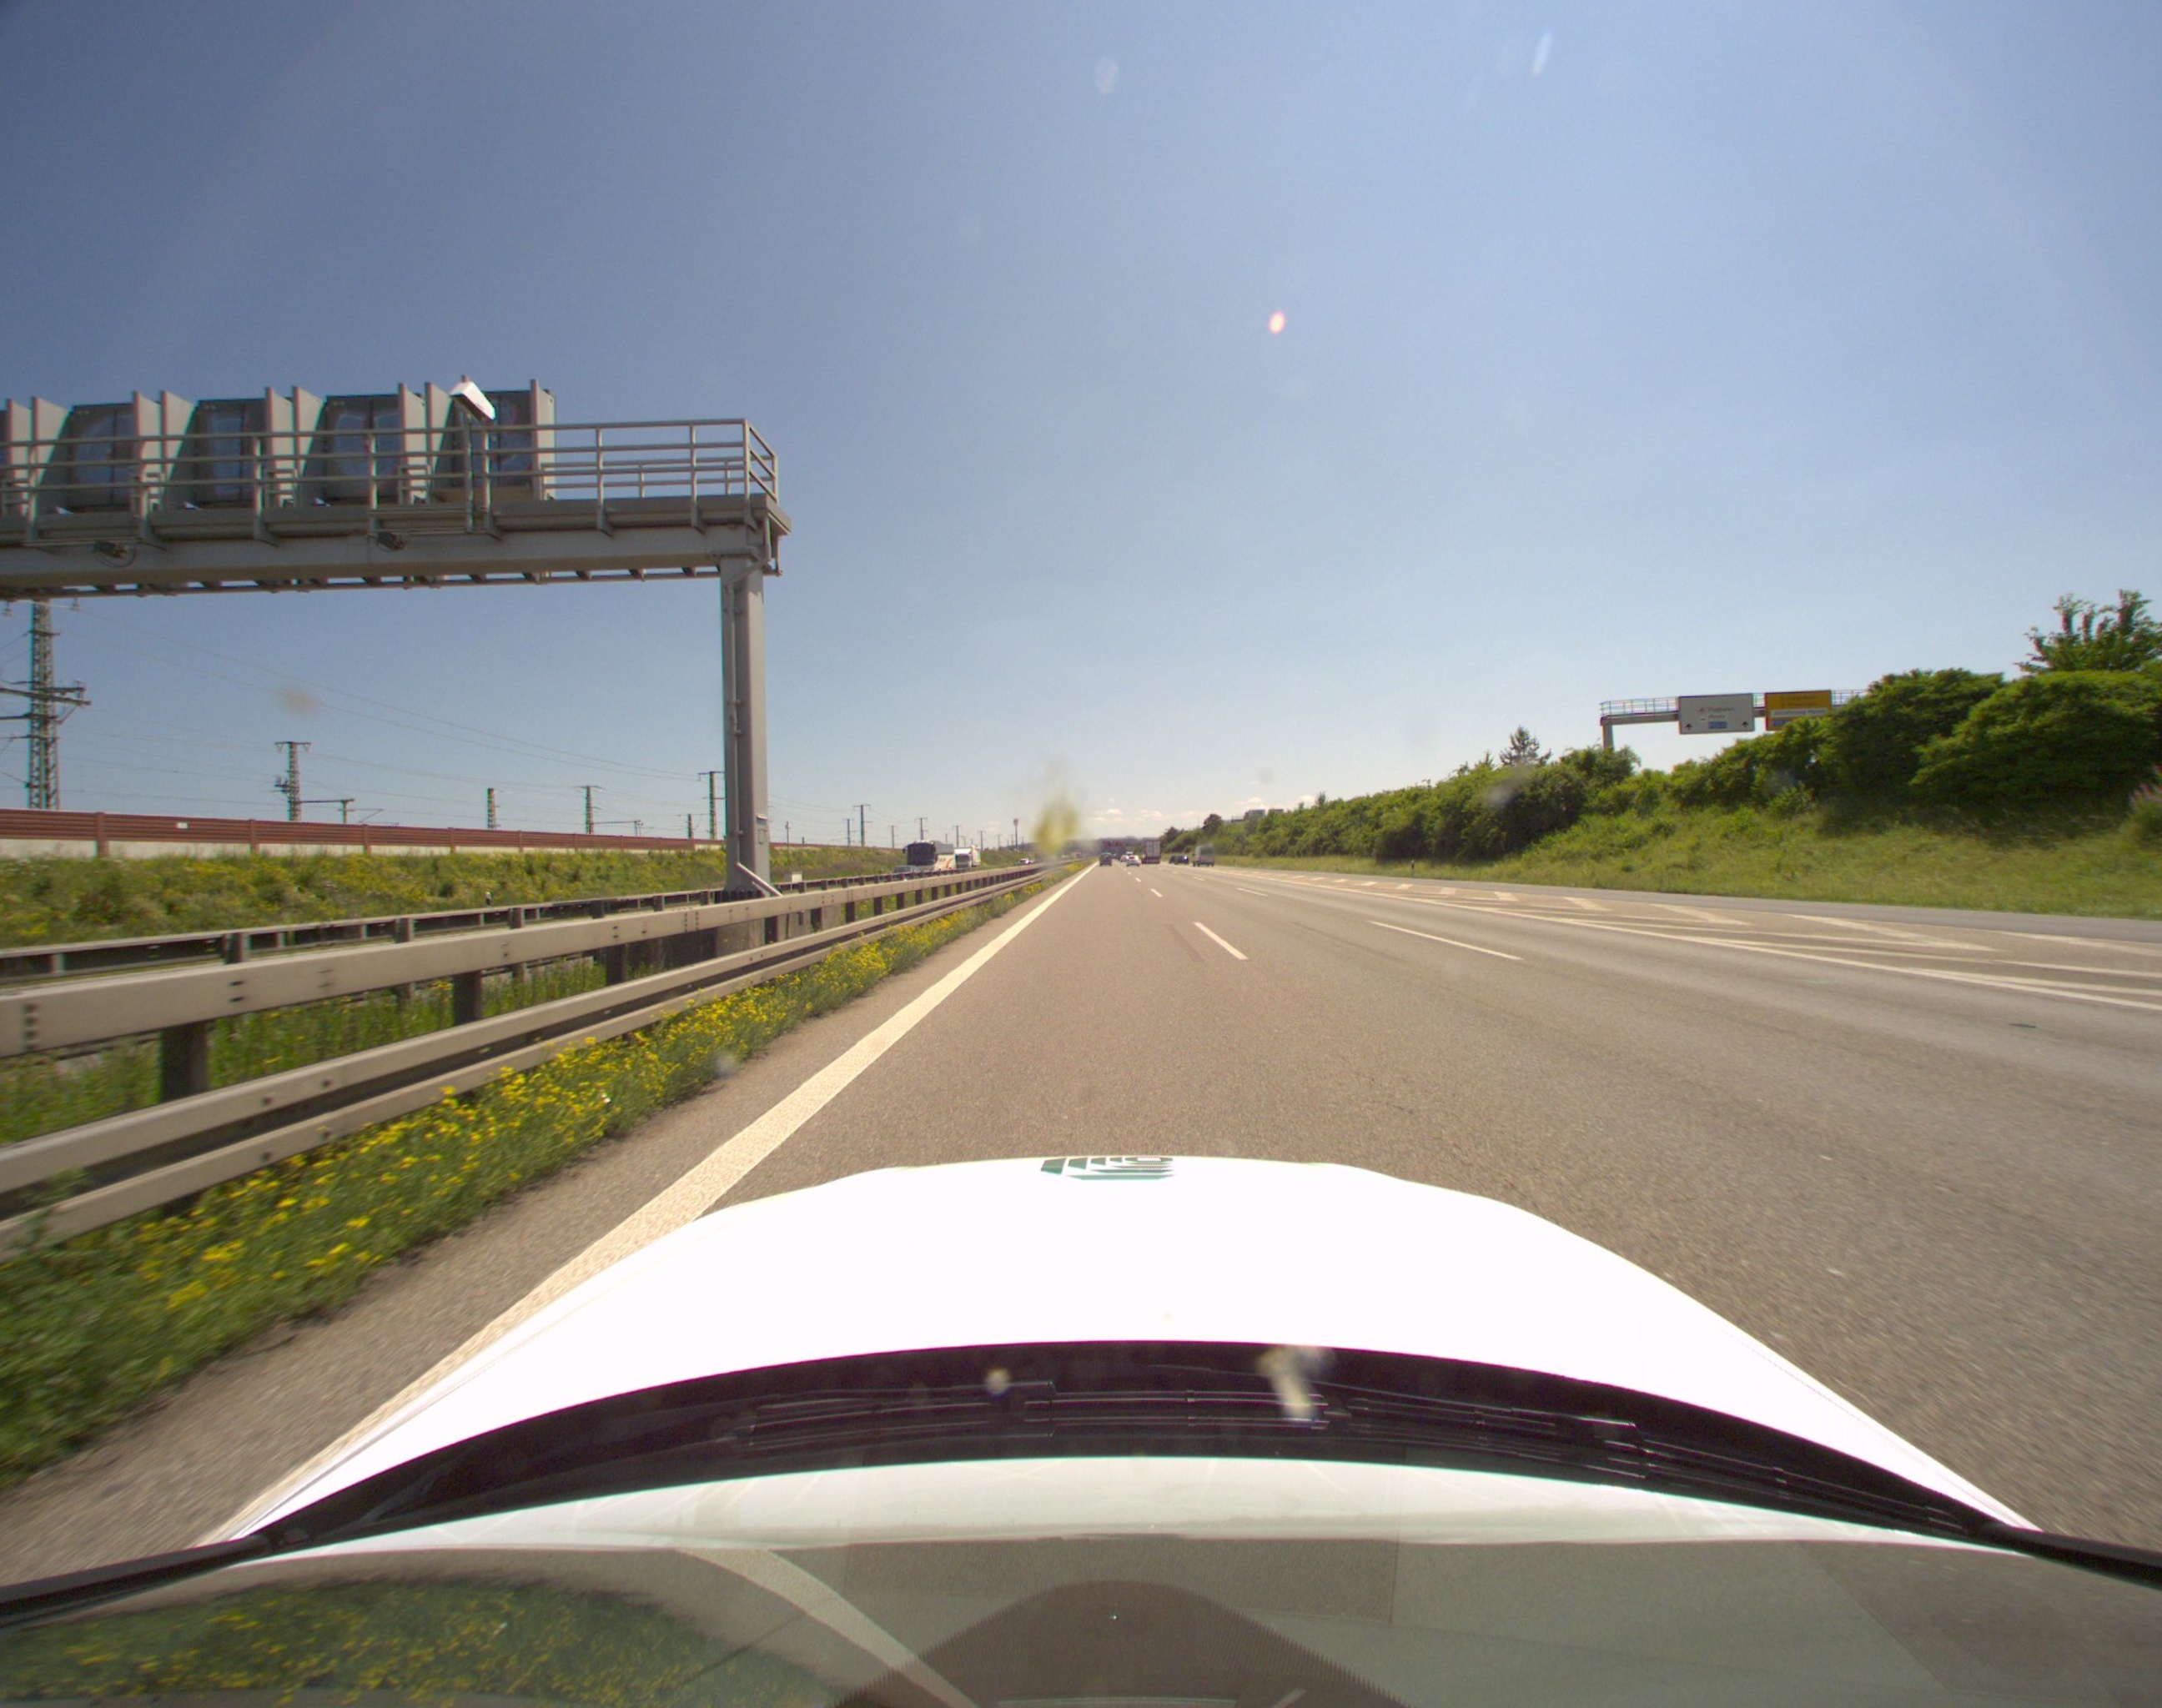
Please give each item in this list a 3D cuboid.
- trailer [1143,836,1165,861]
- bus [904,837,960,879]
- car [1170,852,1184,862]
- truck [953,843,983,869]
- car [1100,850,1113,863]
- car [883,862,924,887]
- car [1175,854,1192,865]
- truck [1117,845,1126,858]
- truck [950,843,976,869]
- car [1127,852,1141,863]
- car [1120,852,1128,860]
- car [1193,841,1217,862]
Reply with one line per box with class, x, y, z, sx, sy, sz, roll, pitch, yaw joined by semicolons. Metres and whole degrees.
trailer;12.361;-0.905;139.182;3.165;4.059;9.443;-2;0;2
bus;-13.657;0.358;75.527;2.846;3.645;10.944;0;0;2
car;16.465;0.476;139.396;1.986;1.596;4.000;0;-2;1
truck;-15.951;0.269;115.093;2.847;3.467;7.784;0;0;2
car;3.733;0.429;118.104;1.873;1.775;4.001;-2;-1;2
car;-11.979;1.366;55.212;1.685;1.474;4.002;-4;0;2
car;15.217;0.793;121.084;1.987;1.508;3.998;0;-2;-1
truck;11.108;-0.774;222.709;2.346;3.416;6.060;-1;0;2
truck;-16.087;0.247;111.328;2.837;3.467;4.025;0;0;2
car;7.283;0.478;111.787;1.872;1.526;4.005;-1;-1;5
car;9.382;0.424;177.625;1.873;1.526;4.003;-1;-1;3
car;15.635;-0.278;102.714;2.266;2.528;5.400;-1;0;1
